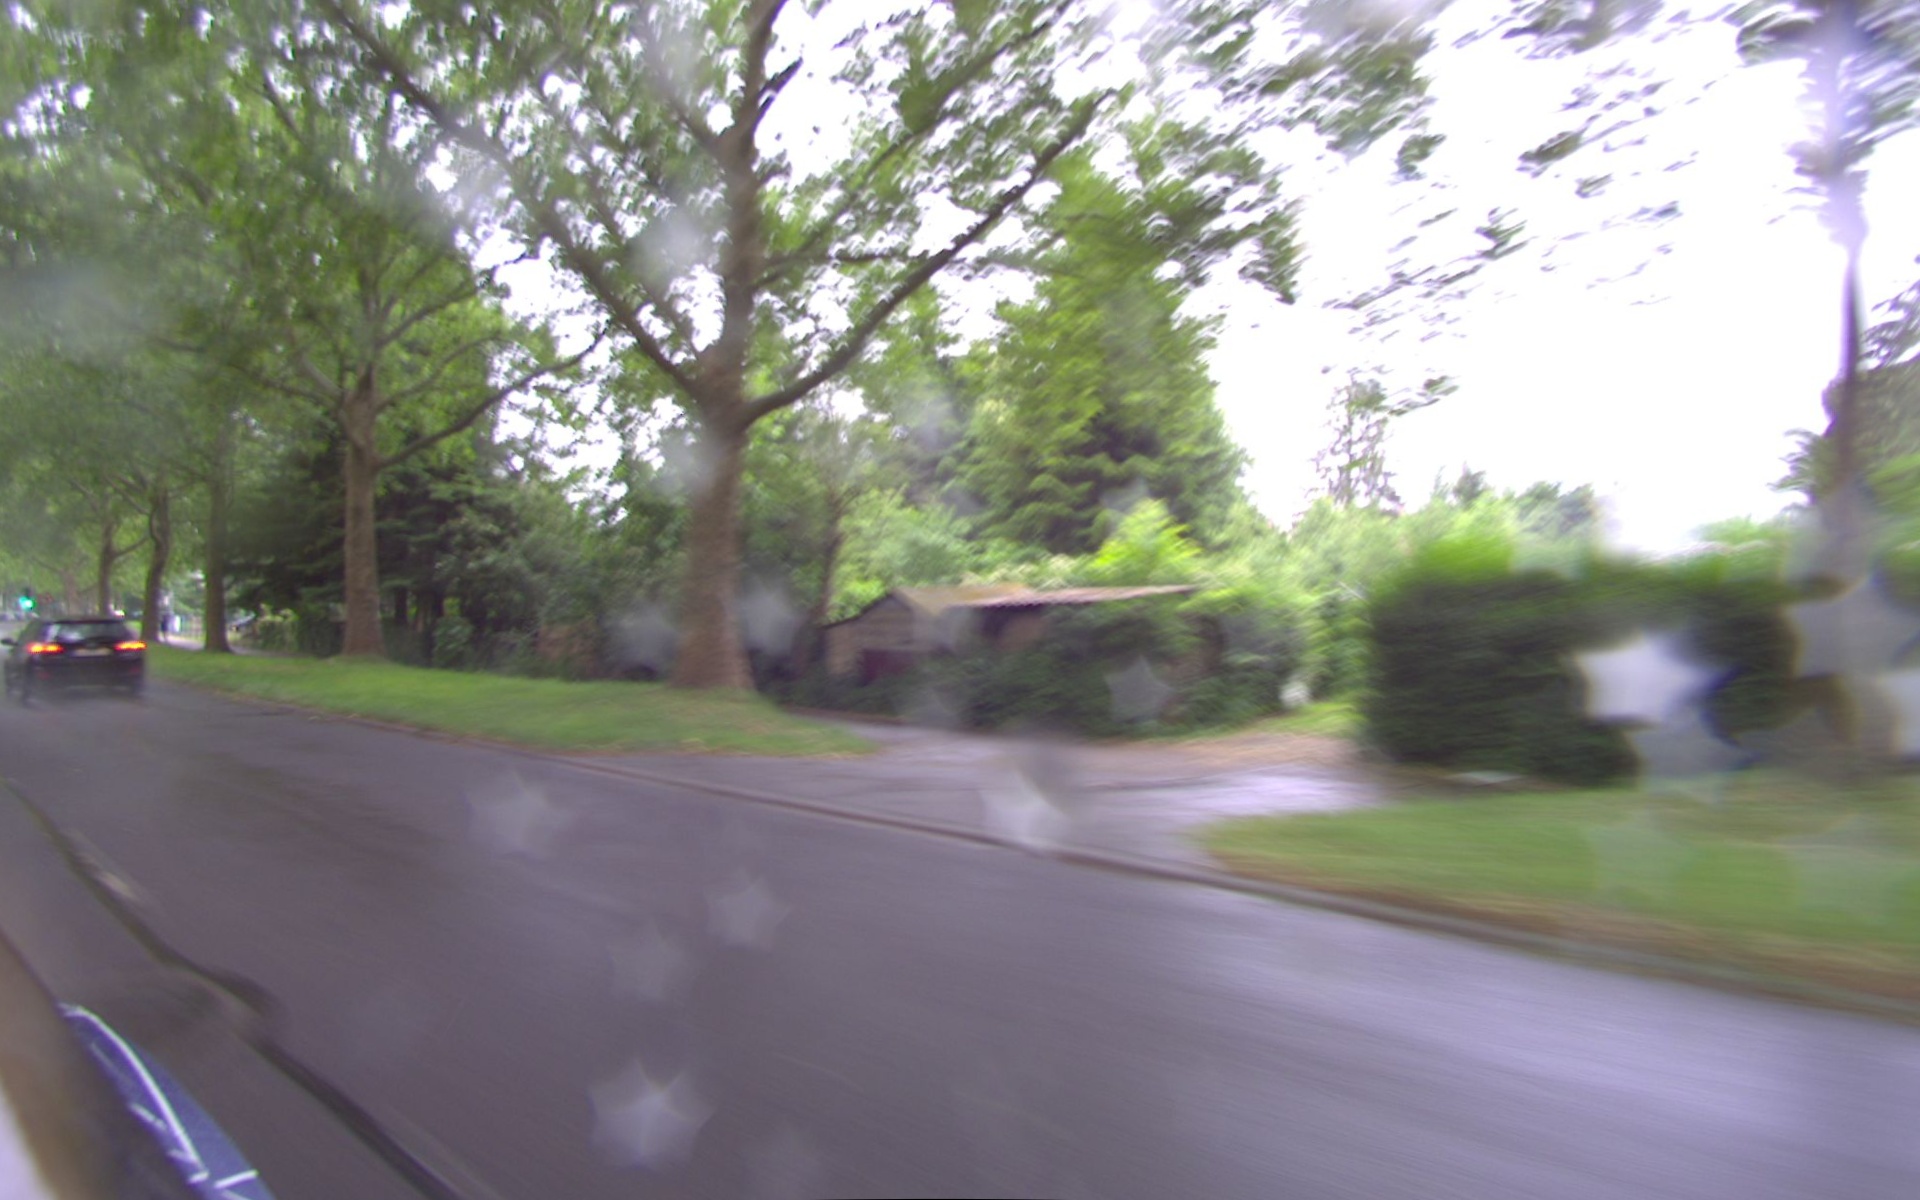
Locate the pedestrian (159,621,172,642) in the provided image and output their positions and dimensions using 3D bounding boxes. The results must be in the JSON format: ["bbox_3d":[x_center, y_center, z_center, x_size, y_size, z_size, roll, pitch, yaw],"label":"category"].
[{"bbox_3d":[-47.636,1.887,60.665,0.849,1.271,0.510,-1,0,45],"label":"pedestrian"}]

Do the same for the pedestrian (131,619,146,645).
[{"bbox_3d":[-48.503,1.877,59.729,0.857,1.464,0.591,-1,0,45],"label":"pedestrian"}]

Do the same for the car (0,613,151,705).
[{"bbox_3d":[-16.878,1.037,19.050,3.997,1.513,1.827,-1,0,40],"label":"car"}]
